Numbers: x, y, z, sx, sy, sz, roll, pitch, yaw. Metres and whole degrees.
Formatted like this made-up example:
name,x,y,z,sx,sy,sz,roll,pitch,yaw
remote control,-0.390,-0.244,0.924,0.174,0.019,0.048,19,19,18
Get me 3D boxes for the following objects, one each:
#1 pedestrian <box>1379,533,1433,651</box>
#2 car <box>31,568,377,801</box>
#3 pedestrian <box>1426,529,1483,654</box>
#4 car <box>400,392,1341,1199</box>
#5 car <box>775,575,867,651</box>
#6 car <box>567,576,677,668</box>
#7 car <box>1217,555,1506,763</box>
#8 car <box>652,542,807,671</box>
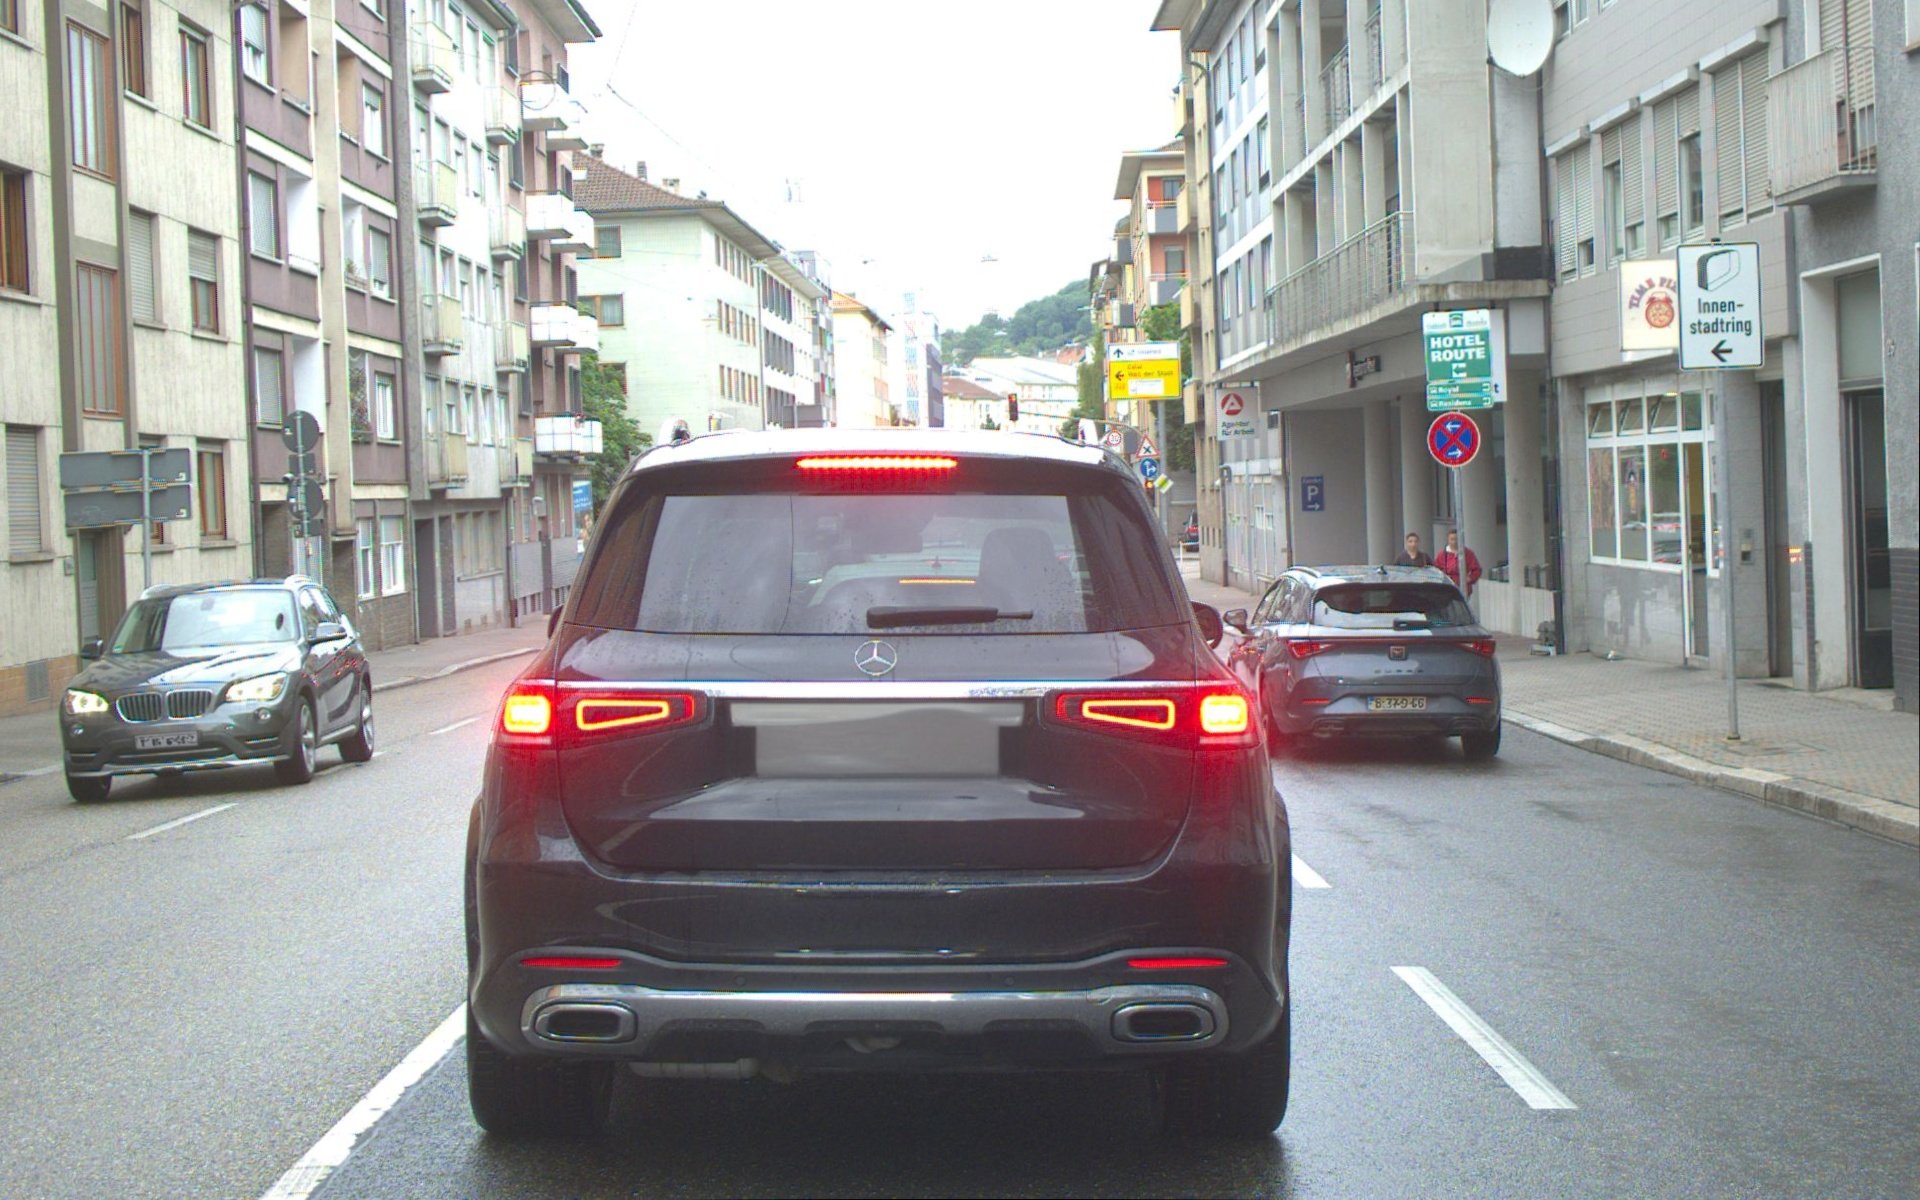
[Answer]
name,x,y,z,sx,sy,sz,roll,pitch,yaw
pedestrian,5.807,-0.105,44.809,0.506,1.495,0.562,-4,1,-2
car,-5.674,0.575,26.288,1.703,1.502,4.160,-4,1,-1
pedestrian,6.442,-0.115,44.799,0.560,1.573,0.526,-4,1,-1
car,-0.233,0.430,9.509,2.025,1.799,4.000,1,1,-1
car,-3.483,0.299,86.984,2.126,1.715,4.818,-3,1,-1
car,-6.477,0.389,66.244,1.797,1.579,4.316,-3,1,-2
car,3.012,0.391,26.553,1.621,1.425,4.312,1,1,-1
car,-3.423,0.056,51.846,1.836,1.721,4.474,-4,1,1
